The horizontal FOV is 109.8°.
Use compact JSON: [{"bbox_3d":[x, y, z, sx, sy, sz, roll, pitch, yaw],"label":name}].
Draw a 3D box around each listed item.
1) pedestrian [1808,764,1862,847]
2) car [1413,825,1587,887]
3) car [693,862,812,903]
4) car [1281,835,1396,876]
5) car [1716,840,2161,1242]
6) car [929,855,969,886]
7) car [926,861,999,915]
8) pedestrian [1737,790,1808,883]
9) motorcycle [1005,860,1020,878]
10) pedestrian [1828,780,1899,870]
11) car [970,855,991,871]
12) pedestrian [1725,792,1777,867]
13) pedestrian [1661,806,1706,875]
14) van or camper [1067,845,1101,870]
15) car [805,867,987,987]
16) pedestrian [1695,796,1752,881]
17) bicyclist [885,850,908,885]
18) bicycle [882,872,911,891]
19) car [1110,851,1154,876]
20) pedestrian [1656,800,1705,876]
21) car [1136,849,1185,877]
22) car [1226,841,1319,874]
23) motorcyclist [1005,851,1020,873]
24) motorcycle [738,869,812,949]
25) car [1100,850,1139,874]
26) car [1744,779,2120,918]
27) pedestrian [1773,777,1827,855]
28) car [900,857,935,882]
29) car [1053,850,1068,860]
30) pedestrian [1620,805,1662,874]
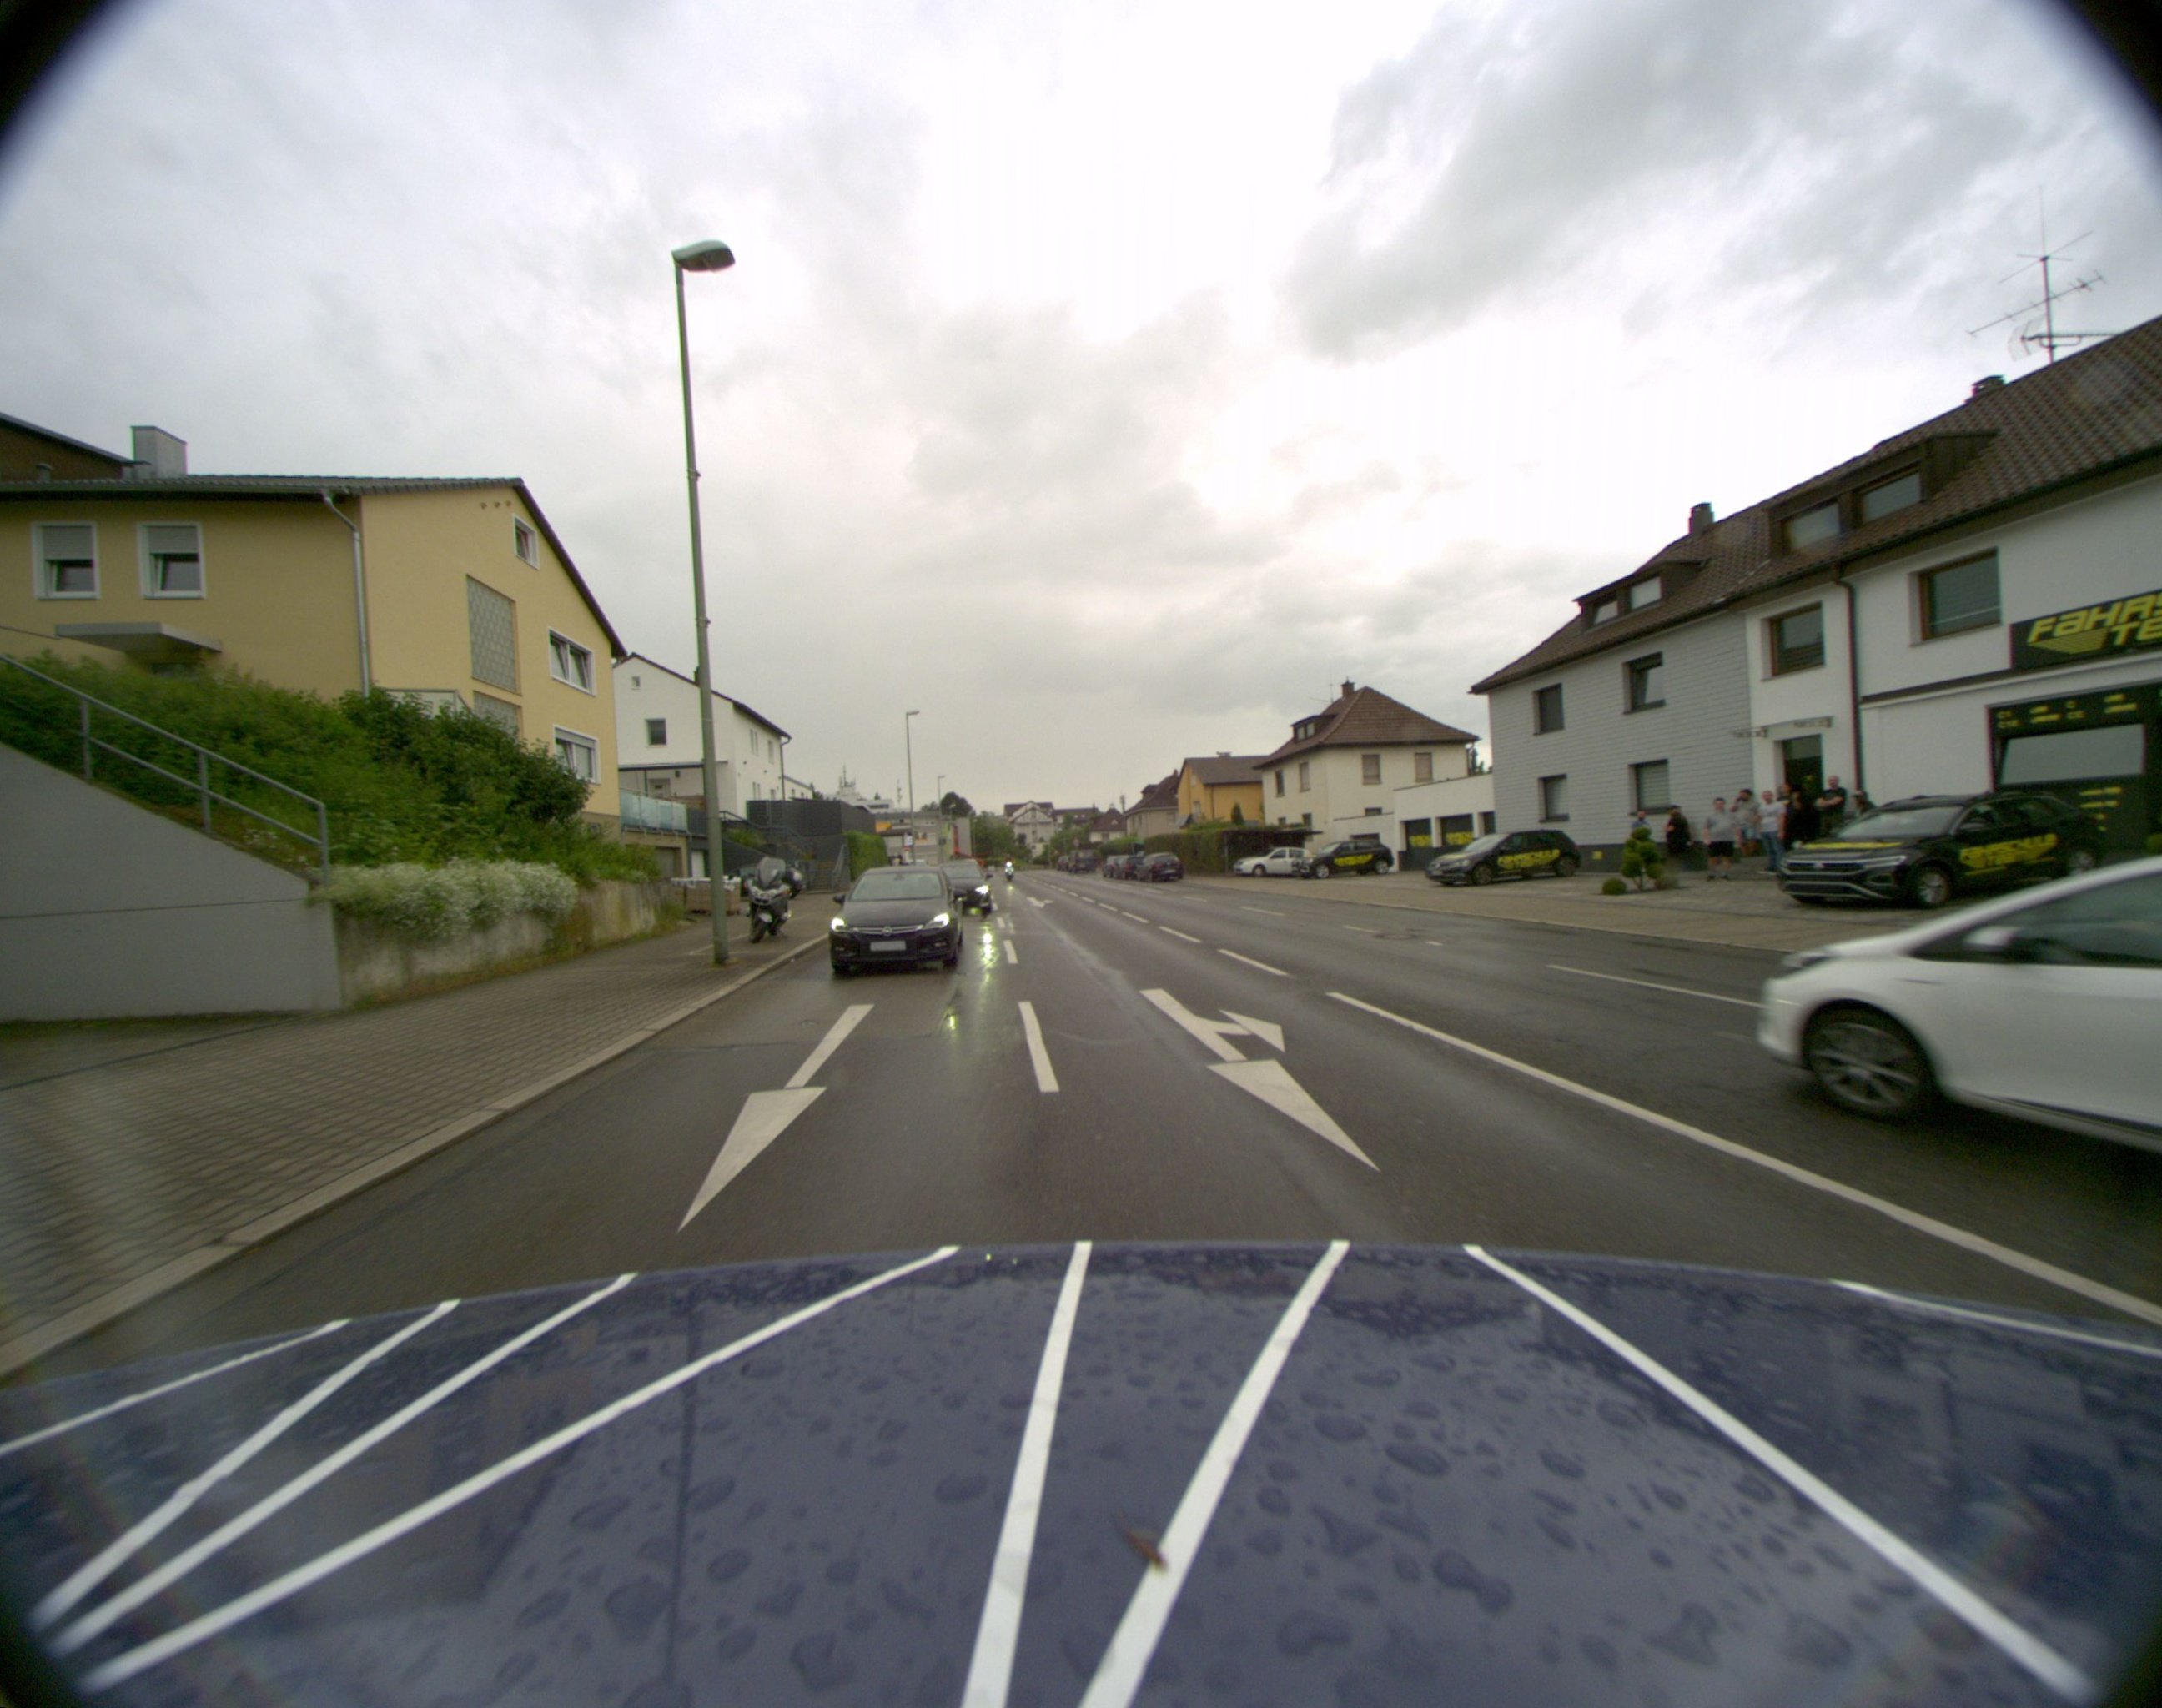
[{"bbox_3d":[15.702,-0.994,15.827,0.517,1.661,0.512,-5,1,-1],"label":"pedestrian"},{"bbox_3d":[12.052,0.052,21.998,3.999,1.412,1.883,-5,1,-6],"label":"car"},{"bbox_3d":[-12.755,1.086,29.710,4.001,1.395,1.671,-1,1,-13],"label":"car"},{"bbox_3d":[10.807,0.049,32.038,4.111,1.412,1.883,-4,1,-6],"label":"car"},{"bbox_3d":[5.062,0.708,2.822,1.838,1.521,3.997,-1,0,-6],"label":"car"},{"bbox_3d":[-7.037,0.911,40.774,1.841,1.448,4.000,-2,-3,-6],"label":"car"},{"bbox_3d":[-3.446,0.985,22.881,1.911,1.389,4.855,-2,-1,-6],"label":"car"},{"bbox_3d":[14.494,-0.359,15.932,0.734,1.856,0.686,-5,1,-1],"label":"pedestrian"},{"bbox_3d":[-4.613,1.013,51.271,0.944,1.101,2.405,-2,1,-4],"label":"motorcycle"},{"bbox_3d":[15.266,-0.558,14.847,0.674,1.661,0.691,-5,1,23],"label":"pedestrian"},{"bbox_3d":[-9.654,0.880,72.910,1.842,1.472,3.997,-1,-1,-9],"label":"car"},{"bbox_3d":[15.546,-0.558,17.639,0.584,1.661,0.575,-6,1,-8],"label":"pedestrian"},{"bbox_3d":[15.362,-0.339,19.380,0.588,1.698,0.561,-6,1,-8],"label":"pedestrian"},{"bbox_3d":[0.204,0.230,66.360,2.191,2.002,5.130,-2,1,-7],"label":"van or camper"},{"bbox_3d":[-2.638,0.979,11.829,1.840,1.390,3.999,-1,1,0],"label":"car"},{"bbox_3d":[14.028,-0.330,16.599,0.670,1.778,0.539,-6,1,-3],"label":"pedestrian"},{"bbox_3d":[-8.825,0.653,36.293,0.809,1.633,0.906,-1,1,3],"label":"bicyclist"},{"bbox_3d":[-8.785,1.291,36.266,0.733,0.821,2.234,-1,0,3],"label":"bicycle"},{"bbox_3d":[3.100,0.537,46.718,1.810,1.407,3.996,-1,0,-9],"label":"car"},{"bbox_3d":[14.613,-0.376,18.543,0.652,1.776,0.648,-5,0,17],"label":"pedestrian"},{"bbox_3d":[4.232,0.456,40.875,1.810,1.407,3.997,-1,0,-6],"label":"car"},{"bbox_3d":[9.517,0.186,37.852,4.114,1.475,1.838,2,-1,-13],"label":"car"},{"bbox_3d":[-4.613,0.545,51.107,0.953,1.413,0.992,-2,1,-5],"label":"motorcyclist"},{"bbox_3d":[-5.823,0.988,14.593,0.694,1.317,2.477,-1,0,-8],"label":"motorcycle"},{"bbox_3d":[2.607,0.528,51.971,1.810,1.505,3.996,-1,0,-9],"label":"car"},{"bbox_3d":[13.270,-0.082,12.011,3.998,1.555,1.872,-7,0,-5],"label":"car"},{"bbox_3d":[16.000,-0.833,16.912,0.575,1.661,0.551,-6,1,-8],"label":"pedestrian"},{"bbox_3d":[-10.430,0.938,48.805,1.738,1.481,3.997,-1,0,-6],"label":"car"},{"bbox_3d":[-3.344,0.158,122.489,1.999,1.565,3.997,-2,1,-6],"label":"car"},{"bbox_3d":[14.776,-0.372,20.067,0.447,1.743,0.689,-6,1,-5],"label":"pedestrian"}]
